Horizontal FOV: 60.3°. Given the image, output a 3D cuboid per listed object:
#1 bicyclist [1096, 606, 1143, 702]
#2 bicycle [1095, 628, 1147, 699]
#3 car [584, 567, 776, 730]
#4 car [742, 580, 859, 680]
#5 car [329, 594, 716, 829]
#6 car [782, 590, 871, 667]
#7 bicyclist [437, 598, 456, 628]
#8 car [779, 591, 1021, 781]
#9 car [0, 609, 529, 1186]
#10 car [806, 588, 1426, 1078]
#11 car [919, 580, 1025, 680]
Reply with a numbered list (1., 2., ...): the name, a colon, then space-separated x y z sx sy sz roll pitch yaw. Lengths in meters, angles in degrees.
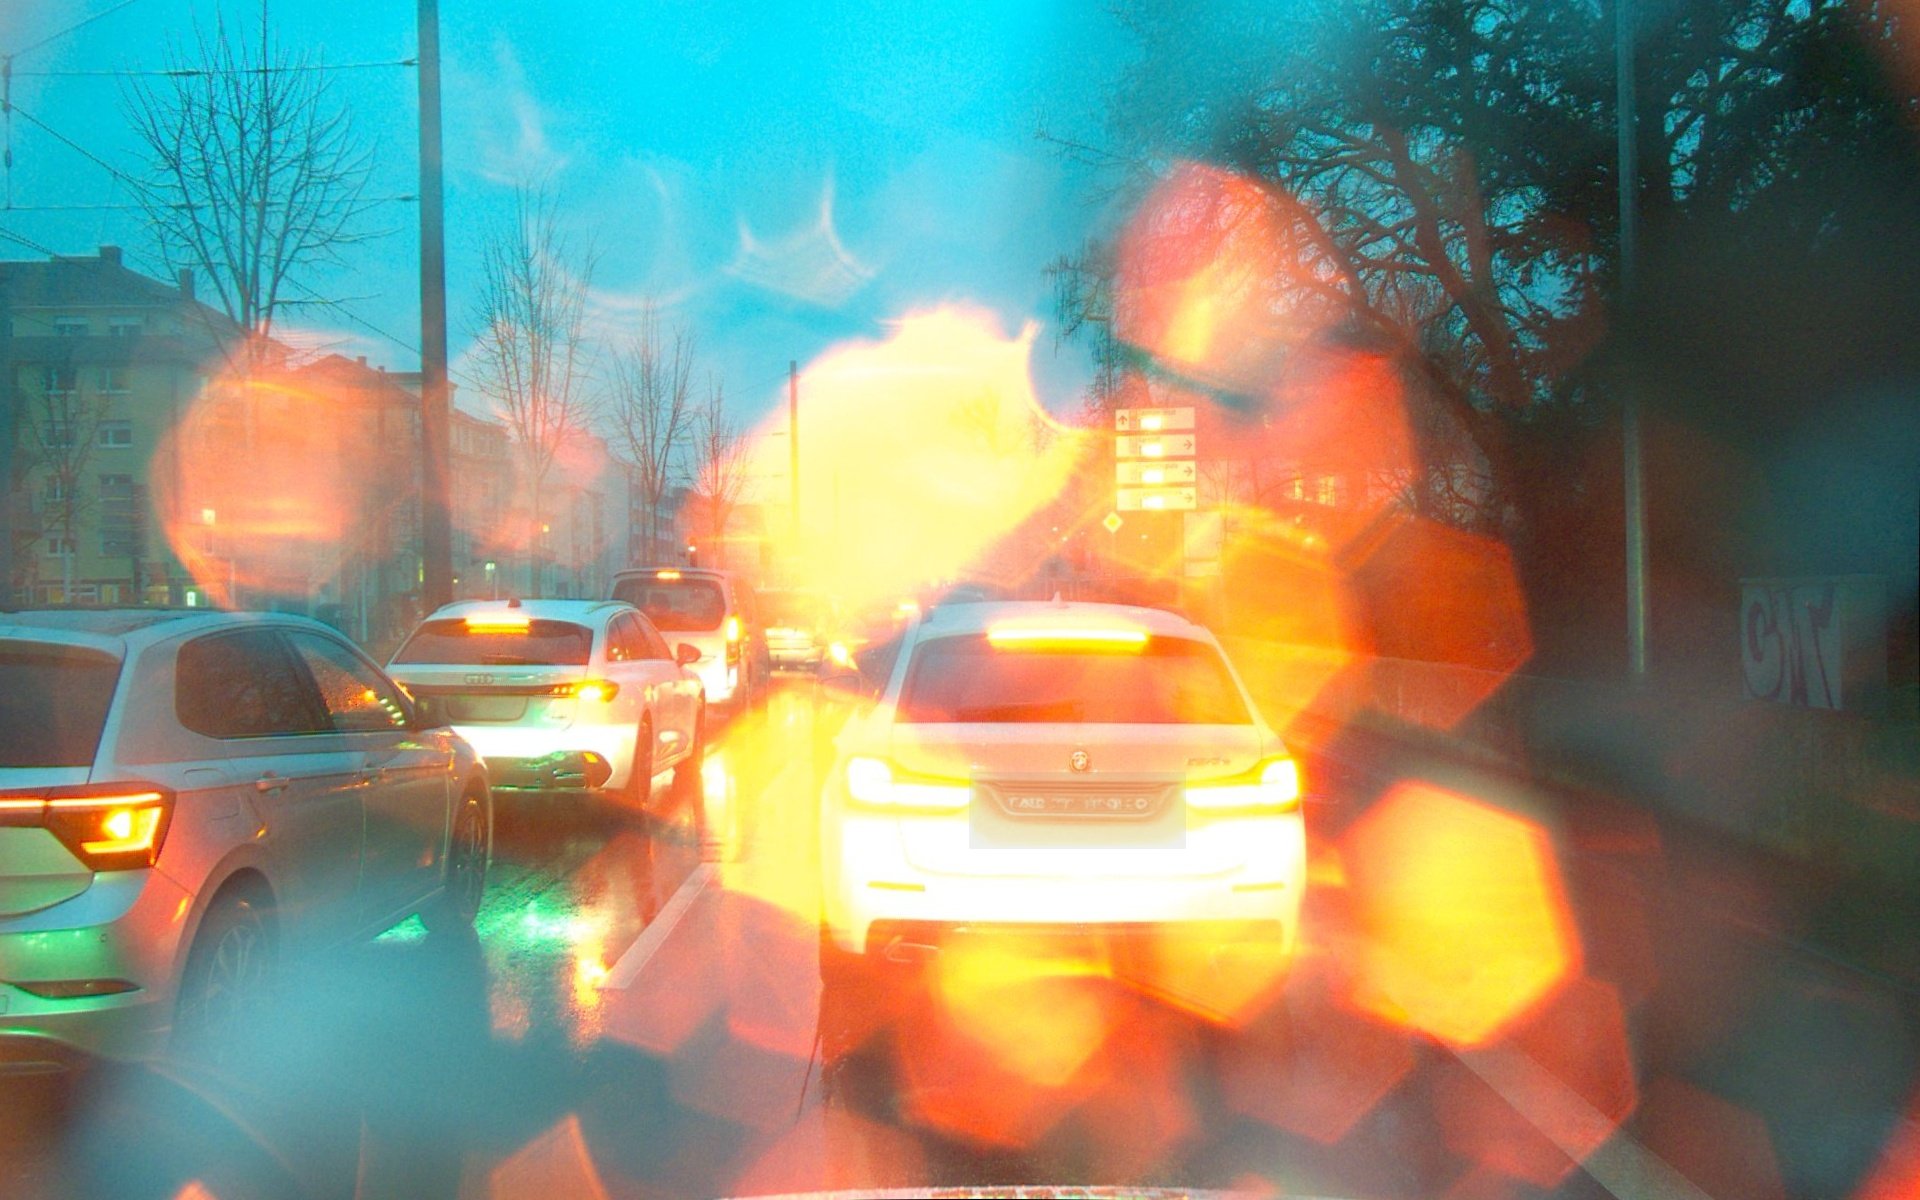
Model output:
1. bicyclist: 2.421 0.814 25.169 0.632 1.413 0.890 -1 0 1
2. bicycle: 2.428 0.941 25.149 0.632 0.983 2.047 -1 0 1
3. car: -3.307 0.532 20.320 1.757 1.766 4.535 0 0 -2
4. car: -2.798 0.492 29.749 1.770 1.674 3.999 0 0 -1
5. car: -3.009 0.685 12.426 1.809 1.430 4.612 0 0 -2
6. car: -3.037 0.607 38.192 1.770 1.674 3.999 0 0 -1
7. bicyclist: -27.513 0.715 88.675 0.783 1.607 0.629 1 0 -39
8. car: -0.499 0.663 15.087 1.896 1.483 4.162 0 0 -1
9. car: -2.904 0.743 6.039 1.727 1.395 3.980 0 0 -2
10. car: 0.466 0.720 7.295 1.958 1.534 4.162 0 0 -1
11. car: 0.181 0.499 29.793 1.770 1.674 3.999 0 0 -1
